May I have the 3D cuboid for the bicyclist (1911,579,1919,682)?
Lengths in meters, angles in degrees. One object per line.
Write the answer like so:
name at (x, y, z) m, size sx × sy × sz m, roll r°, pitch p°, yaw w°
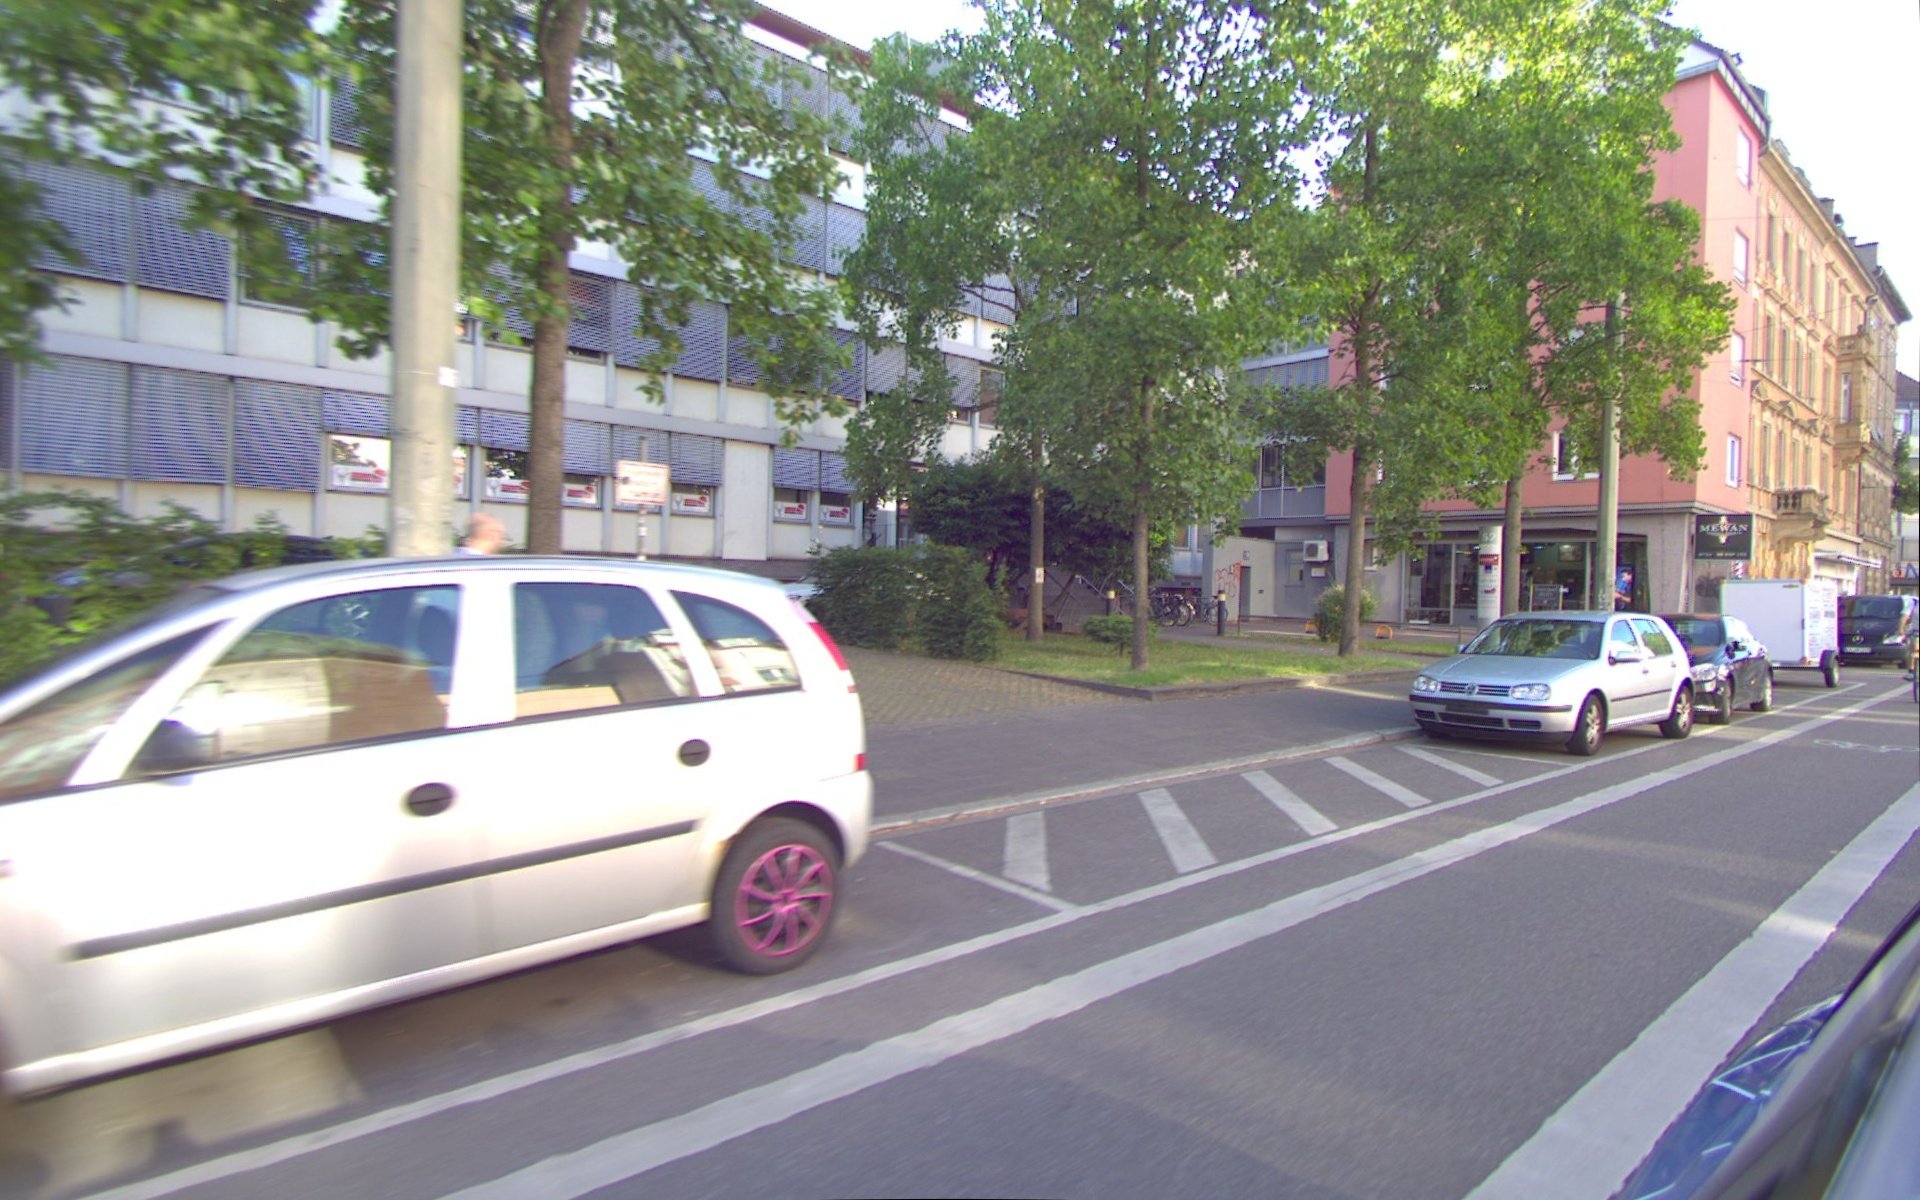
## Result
bicyclist at (16.174, 0.495, 16.677) m, size 0.911 × 1.676 × 0.656 m, roll 0°, pitch 0°, yaw -42°

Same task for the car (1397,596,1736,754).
car at (6.890, 0.687, 11.344) m, size 4.234 × 1.461 × 1.755 m, roll 0°, pitch 0°, yaw -36°

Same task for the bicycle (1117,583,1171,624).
bicycle at (5.509, 0.089, 30.357) m, size 1.584 × 1.128 × 0.442 m, roll 4°, pitch 3°, yaw 44°

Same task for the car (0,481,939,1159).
car at (-2.137, 0.526, 3.703) m, size 3.995 × 1.611 × 1.716 m, roll 0°, pitch -1°, yaw -42°

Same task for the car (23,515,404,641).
car at (-10.682, -0.264, 14.692) m, size 4.238 × 1.556 × 1.791 m, roll 1°, pitch 0°, yaw -44°

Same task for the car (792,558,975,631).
car at (-1.629, -0.161, 22.561) m, size 1.789 × 1.482 × 3.939 m, roll 1°, pitch 2°, yaw 42°

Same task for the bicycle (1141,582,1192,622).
bicycle at (6.313, 0.038, 30.992) m, size 0.441 × 1.139 × 1.588 m, roll 0°, pitch 3°, yaw -38°

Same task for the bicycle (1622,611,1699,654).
bicycle at (19.972, 0.922, 28.865) m, size 1.846 × 1.147 × 0.427 m, roll 1°, pitch 1°, yaw 1°

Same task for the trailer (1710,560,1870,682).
trailer at (16.133, 0.361, 19.618) m, size 3.774 × 2.144 × 1.664 m, roll -1°, pitch -1°, yaw -39°

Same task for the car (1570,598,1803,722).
car at (10.353, 0.743, 14.295) m, size 4.250 × 1.453 × 1.804 m, roll -1°, pitch -1°, yaw -42°

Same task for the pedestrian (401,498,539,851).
pedestrian at (-2.745, 0.375, 5.655) m, size 0.591 × 1.830 × 0.613 m, roll 0°, pitch 2°, yaw -36°

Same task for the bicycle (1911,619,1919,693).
bicycle at (16.267, 0.911, 16.718) m, size 2.060 × 1.153 × 0.648 m, roll -1°, pitch 2°, yaw -43°

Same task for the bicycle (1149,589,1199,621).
bicycle at (6.679, 0.151, 31.575) m, size 0.441 × 0.886 × 1.588 m, roll 0°, pitch 3°, yaw -38°

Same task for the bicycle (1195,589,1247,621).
bicycle at (8.529, 0.149, 33.073) m, size 1.581 × 0.974 × 0.443 m, roll 4°, pitch 3°, yaw 40°

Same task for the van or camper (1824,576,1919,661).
van or camper at (24.665, 0.441, 26.864) m, size 5.240 × 2.072 × 1.973 m, roll 0°, pitch -1°, yaw -42°

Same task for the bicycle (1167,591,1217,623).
bicycle at (7.227, 0.204, 31.600) m, size 0.441 × 0.886 × 1.588 m, roll 0°, pitch 3°, yaw -38°

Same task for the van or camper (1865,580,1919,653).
van or camper at (29.162, 0.441, 30.699) m, size 5.381 × 2.062 × 1.934 m, roll -1°, pitch 0°, yaw -42°
